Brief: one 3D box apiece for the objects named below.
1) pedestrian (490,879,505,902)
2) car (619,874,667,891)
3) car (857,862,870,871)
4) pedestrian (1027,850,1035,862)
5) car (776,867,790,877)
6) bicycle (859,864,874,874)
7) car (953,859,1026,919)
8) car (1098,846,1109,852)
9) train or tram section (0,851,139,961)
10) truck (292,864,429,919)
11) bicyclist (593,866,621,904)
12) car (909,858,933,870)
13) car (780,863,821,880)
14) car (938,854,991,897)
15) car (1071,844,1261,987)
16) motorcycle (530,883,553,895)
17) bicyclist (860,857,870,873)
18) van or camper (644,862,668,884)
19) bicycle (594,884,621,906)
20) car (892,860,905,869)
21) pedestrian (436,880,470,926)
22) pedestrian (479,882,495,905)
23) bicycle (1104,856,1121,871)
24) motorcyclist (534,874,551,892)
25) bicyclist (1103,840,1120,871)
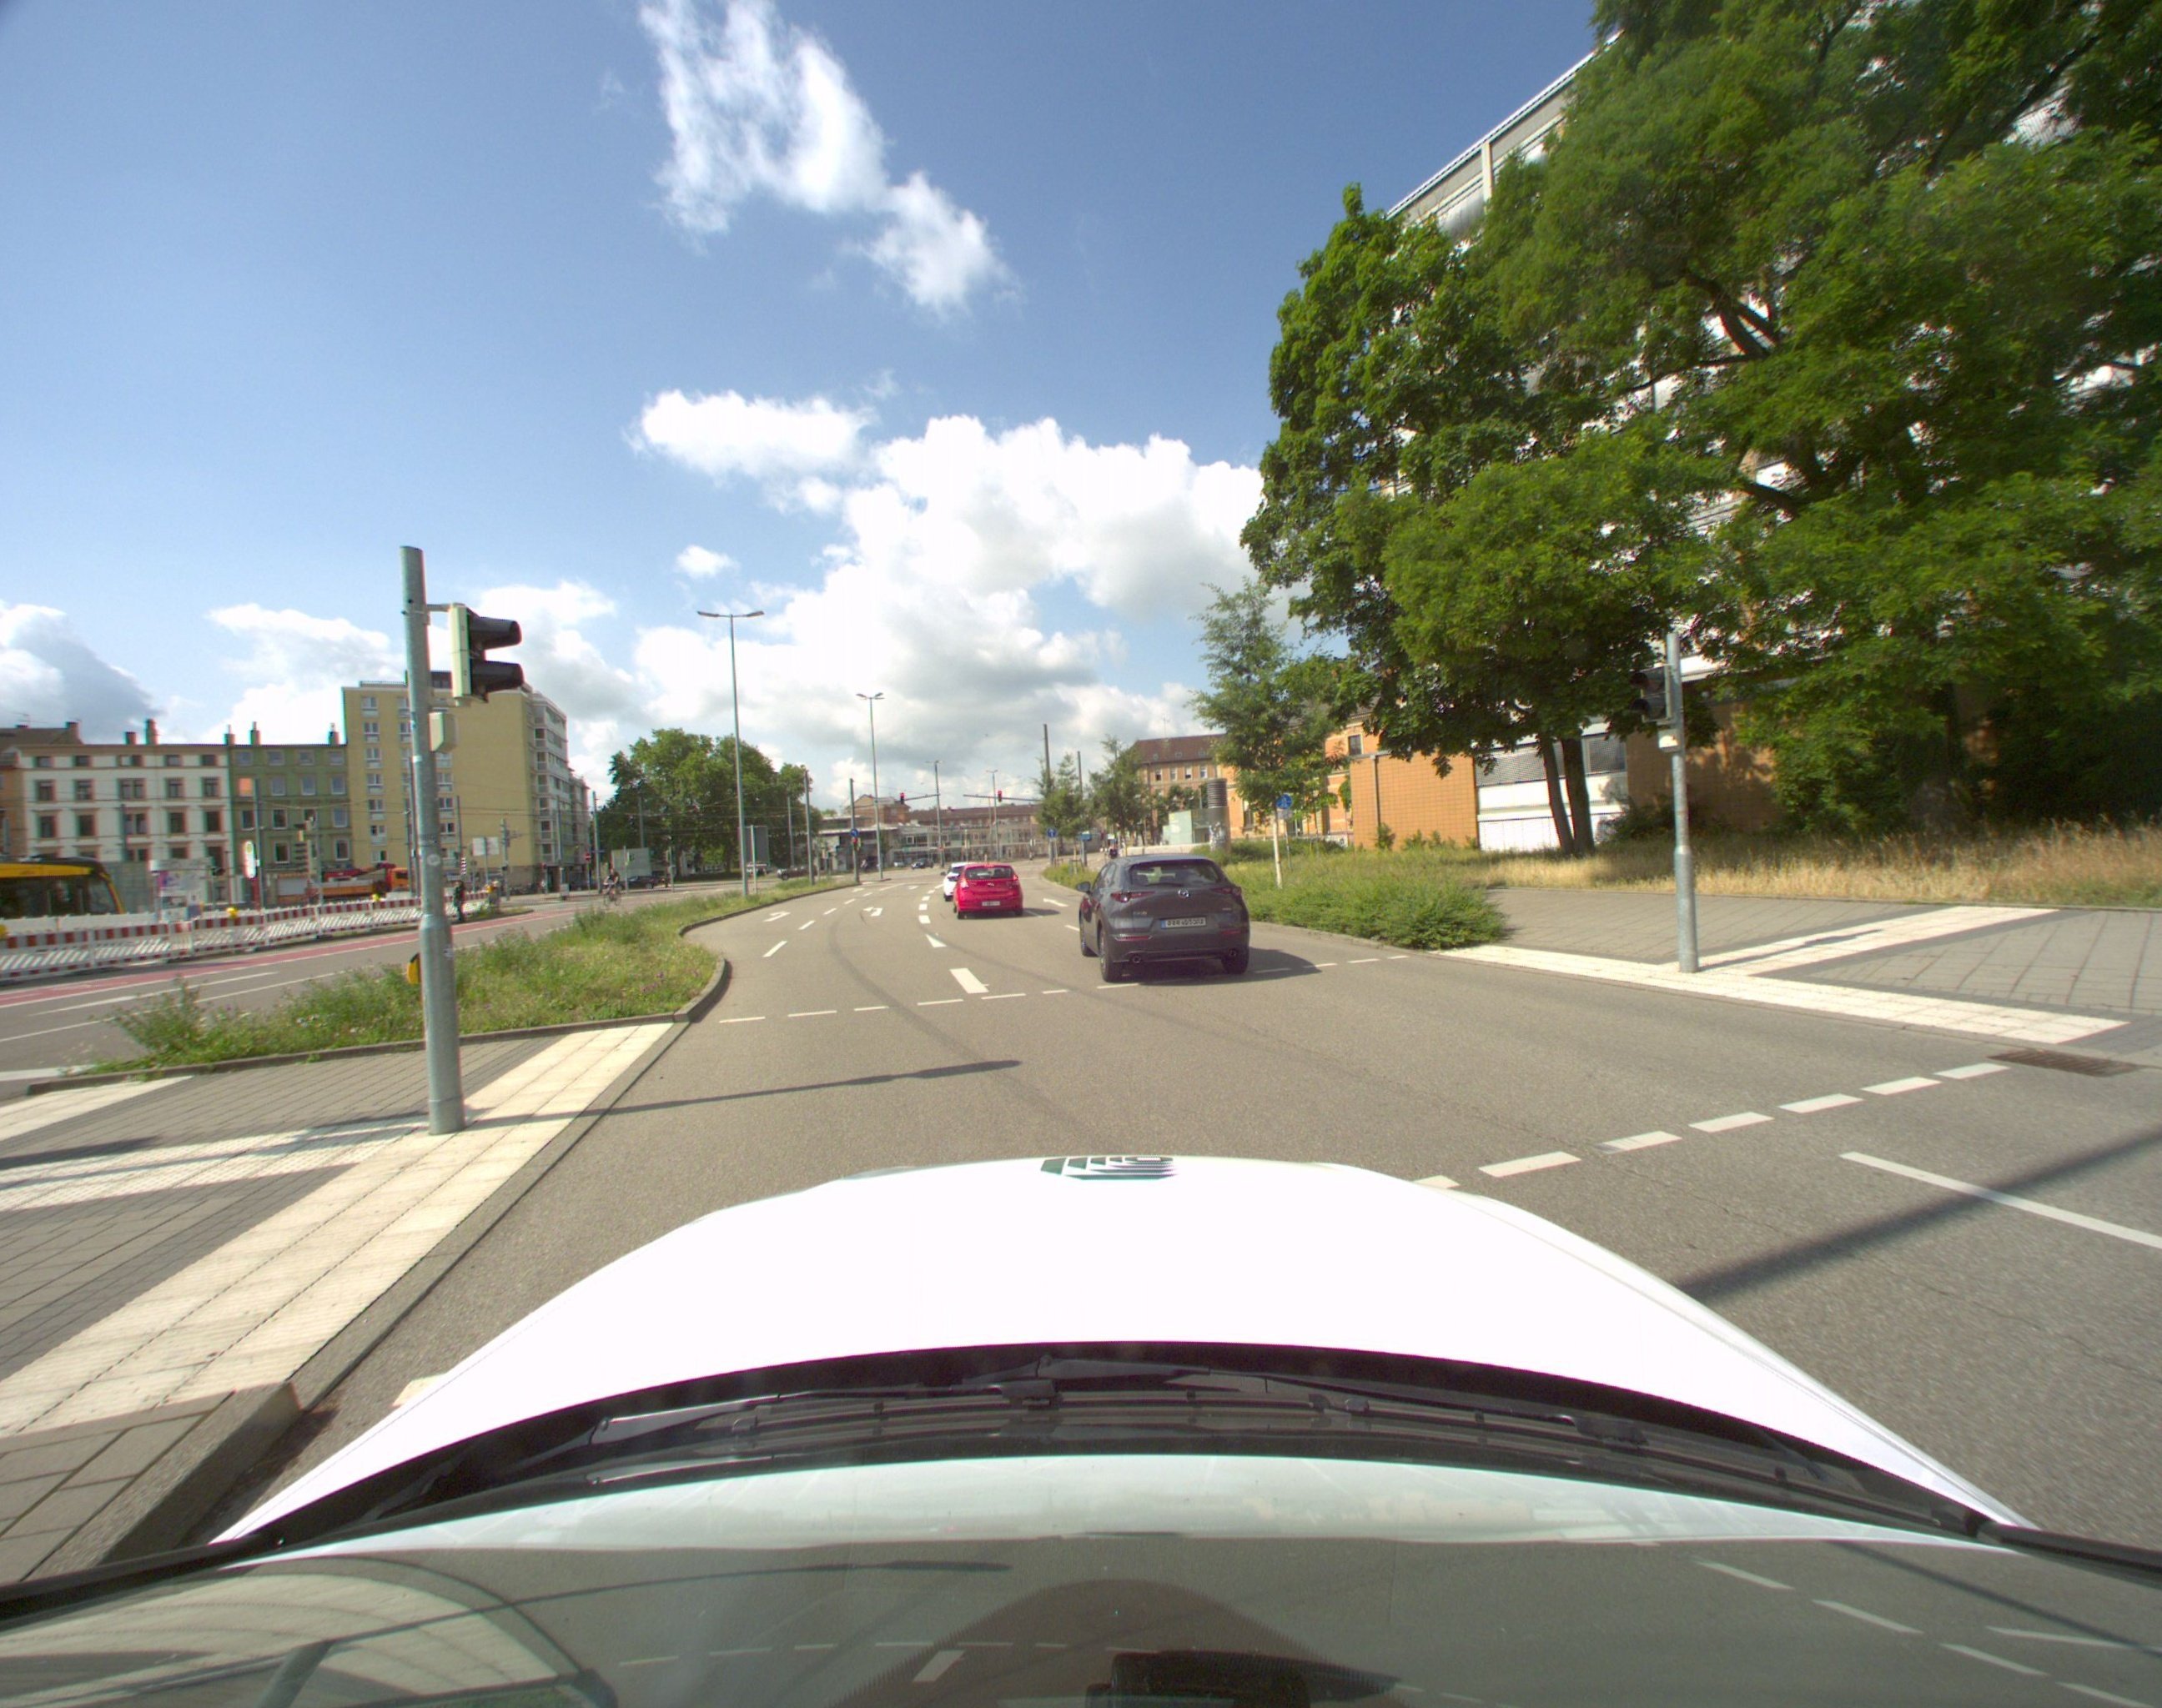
[{"bbox_3d":[-49.274,3.110,68.760,0.650,1.868,0.779,-3,0,-7],"label":"pedestrian"},{"bbox_3d":[-44.368,2.920,82.643,4.086,1.508,1.800,-2,0,-24],"label":"car"},{"bbox_3d":[-39.223,2.278,146.991,1.997,1.552,4.058,-3,0,-14],"label":"car"},{"bbox_3d":[-6.678,0.291,108.973,0.665,1.535,0.679,-3,0,43],"label":"pedestrian"},{"bbox_3d":[-53.780,3.237,146.839,1.800,1.769,3.982,-4,0,-13],"label":"car"},{"bbox_3d":[-25.459,1.745,96.638,1.473,1.117,0.582,-3,0,-28],"label":"bicycle"},{"bbox_3d":[-2.599,0.906,22.926,1.815,1.439,4.057,-2,0,-7],"label":"car"},{"bbox_3d":[5.709,-1.206,206.858,1.979,1.442,4.016,-3,0,14],"label":"car"},{"bbox_3d":[-38.026,1.896,24.414,2.636,3.572,12.481,-3,0,22],"label":"train or tram section"},{"bbox_3d":[-59.202,3.029,67.170,7.951,3.856,2.183,-4,0,-24],"label":"truck"},{"bbox_3d":[-23.759,1.540,40.831,0.812,1.822,1.153,-3,0,-15],"label":"bicyclist"},{"bbox_3d":[-22.206,1.350,112.986,1.983,1.530,4.009,-3,0,7],"label":"car"},{"bbox_3d":[-30.545,1.901,88.627,4.086,1.508,1.800,-3,0,-24],"label":"car"},{"bbox_3d":[-4.599,0.790,31.883,1.848,1.472,4.320,-4,0,-10],"label":"car"},{"bbox_3d":[0.934,0.710,11.235,1.803,1.508,4.197,-3,-1,-5],"label":"car"},{"bbox_3d":[-54.181,3.490,81.838,0.779,1.115,2.432,-3,0,-3],"label":"motorcycle"},{"bbox_3d":[-25.636,1.346,96.564,0.891,1.870,0.757,-3,0,-28],"label":"bicyclist"},{"bbox_3d":[-58.843,2.616,112.669,2.598,2.908,6.040,-3,0,-30],"label":"van or camper"},{"bbox_3d":[-23.707,2.028,40.814,0.617,1.002,2.008,-3,0,-15],"label":"bicycle"},{"bbox_3d":[-33.500,1.920,149.492,2.000,1.596,3.975,-3,0,-19],"label":"car"},{"bbox_3d":[-24.071,1.881,31.217,0.736,1.681,0.638,-3,0,-12],"label":"pedestrian"},{"bbox_3d":[-50.053,3.287,68.649,0.698,1.860,0.817,-3,0,-8],"label":"pedestrian"},{"bbox_3d":[1.786,0.546,46.509,0.624,0.810,1.785,-5,0,-6],"label":"bicycle"},{"bbox_3d":[-54.236,2.919,82.025,0.885,1.781,1.241,-3,0,-3],"label":"motorcyclist"},{"bbox_3d":[1.744,0.090,46.483,0.735,1.702,0.963,-5,0,-6],"label":"bicyclist"}]
